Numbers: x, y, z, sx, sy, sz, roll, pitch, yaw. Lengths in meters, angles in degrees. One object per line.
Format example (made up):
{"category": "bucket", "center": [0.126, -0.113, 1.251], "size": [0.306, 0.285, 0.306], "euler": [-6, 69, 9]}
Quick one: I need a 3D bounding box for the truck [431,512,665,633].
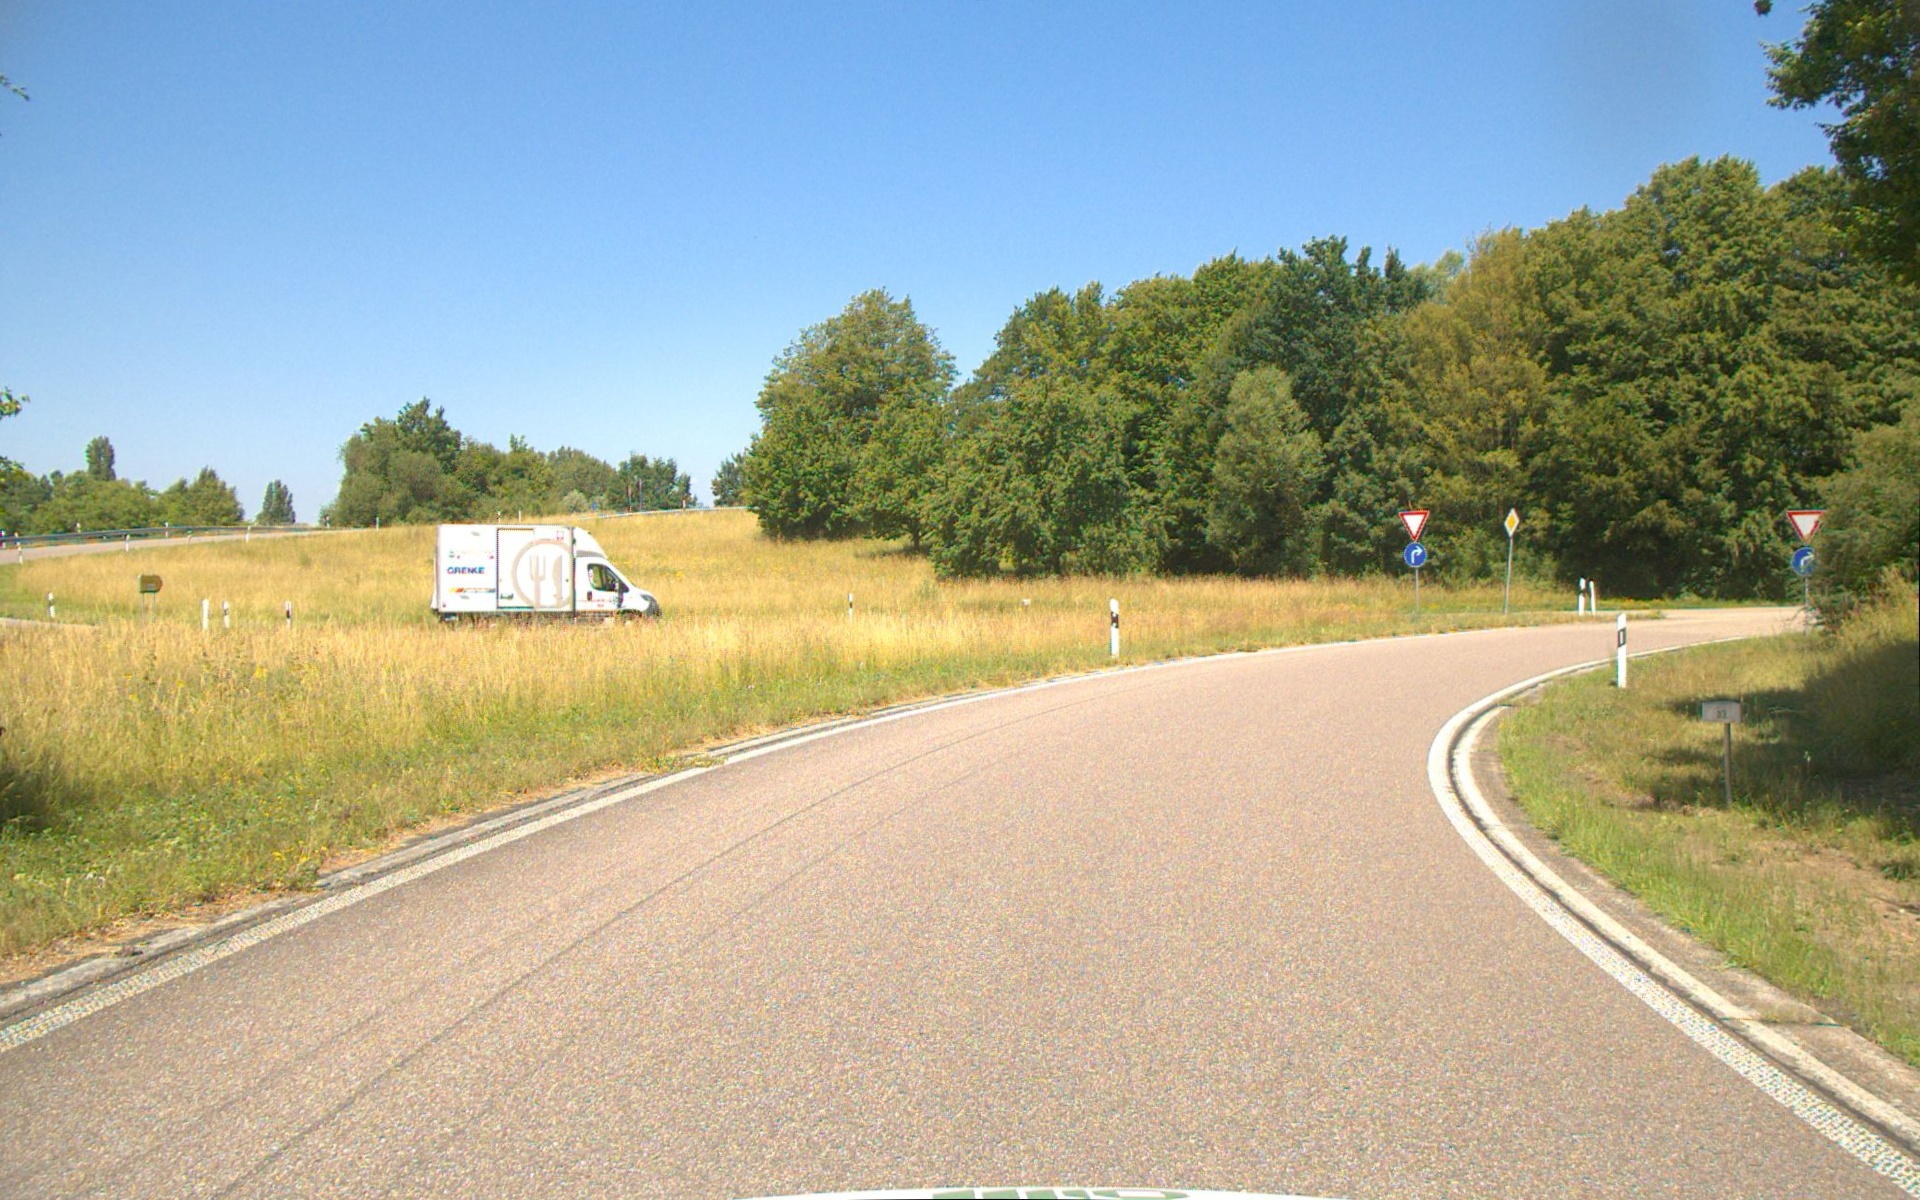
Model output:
{"category": "truck", "center": [-10.827, -0.742, 43.414], "size": [5.785, 3.037, 2.236], "euler": [-1, 1, -19]}
